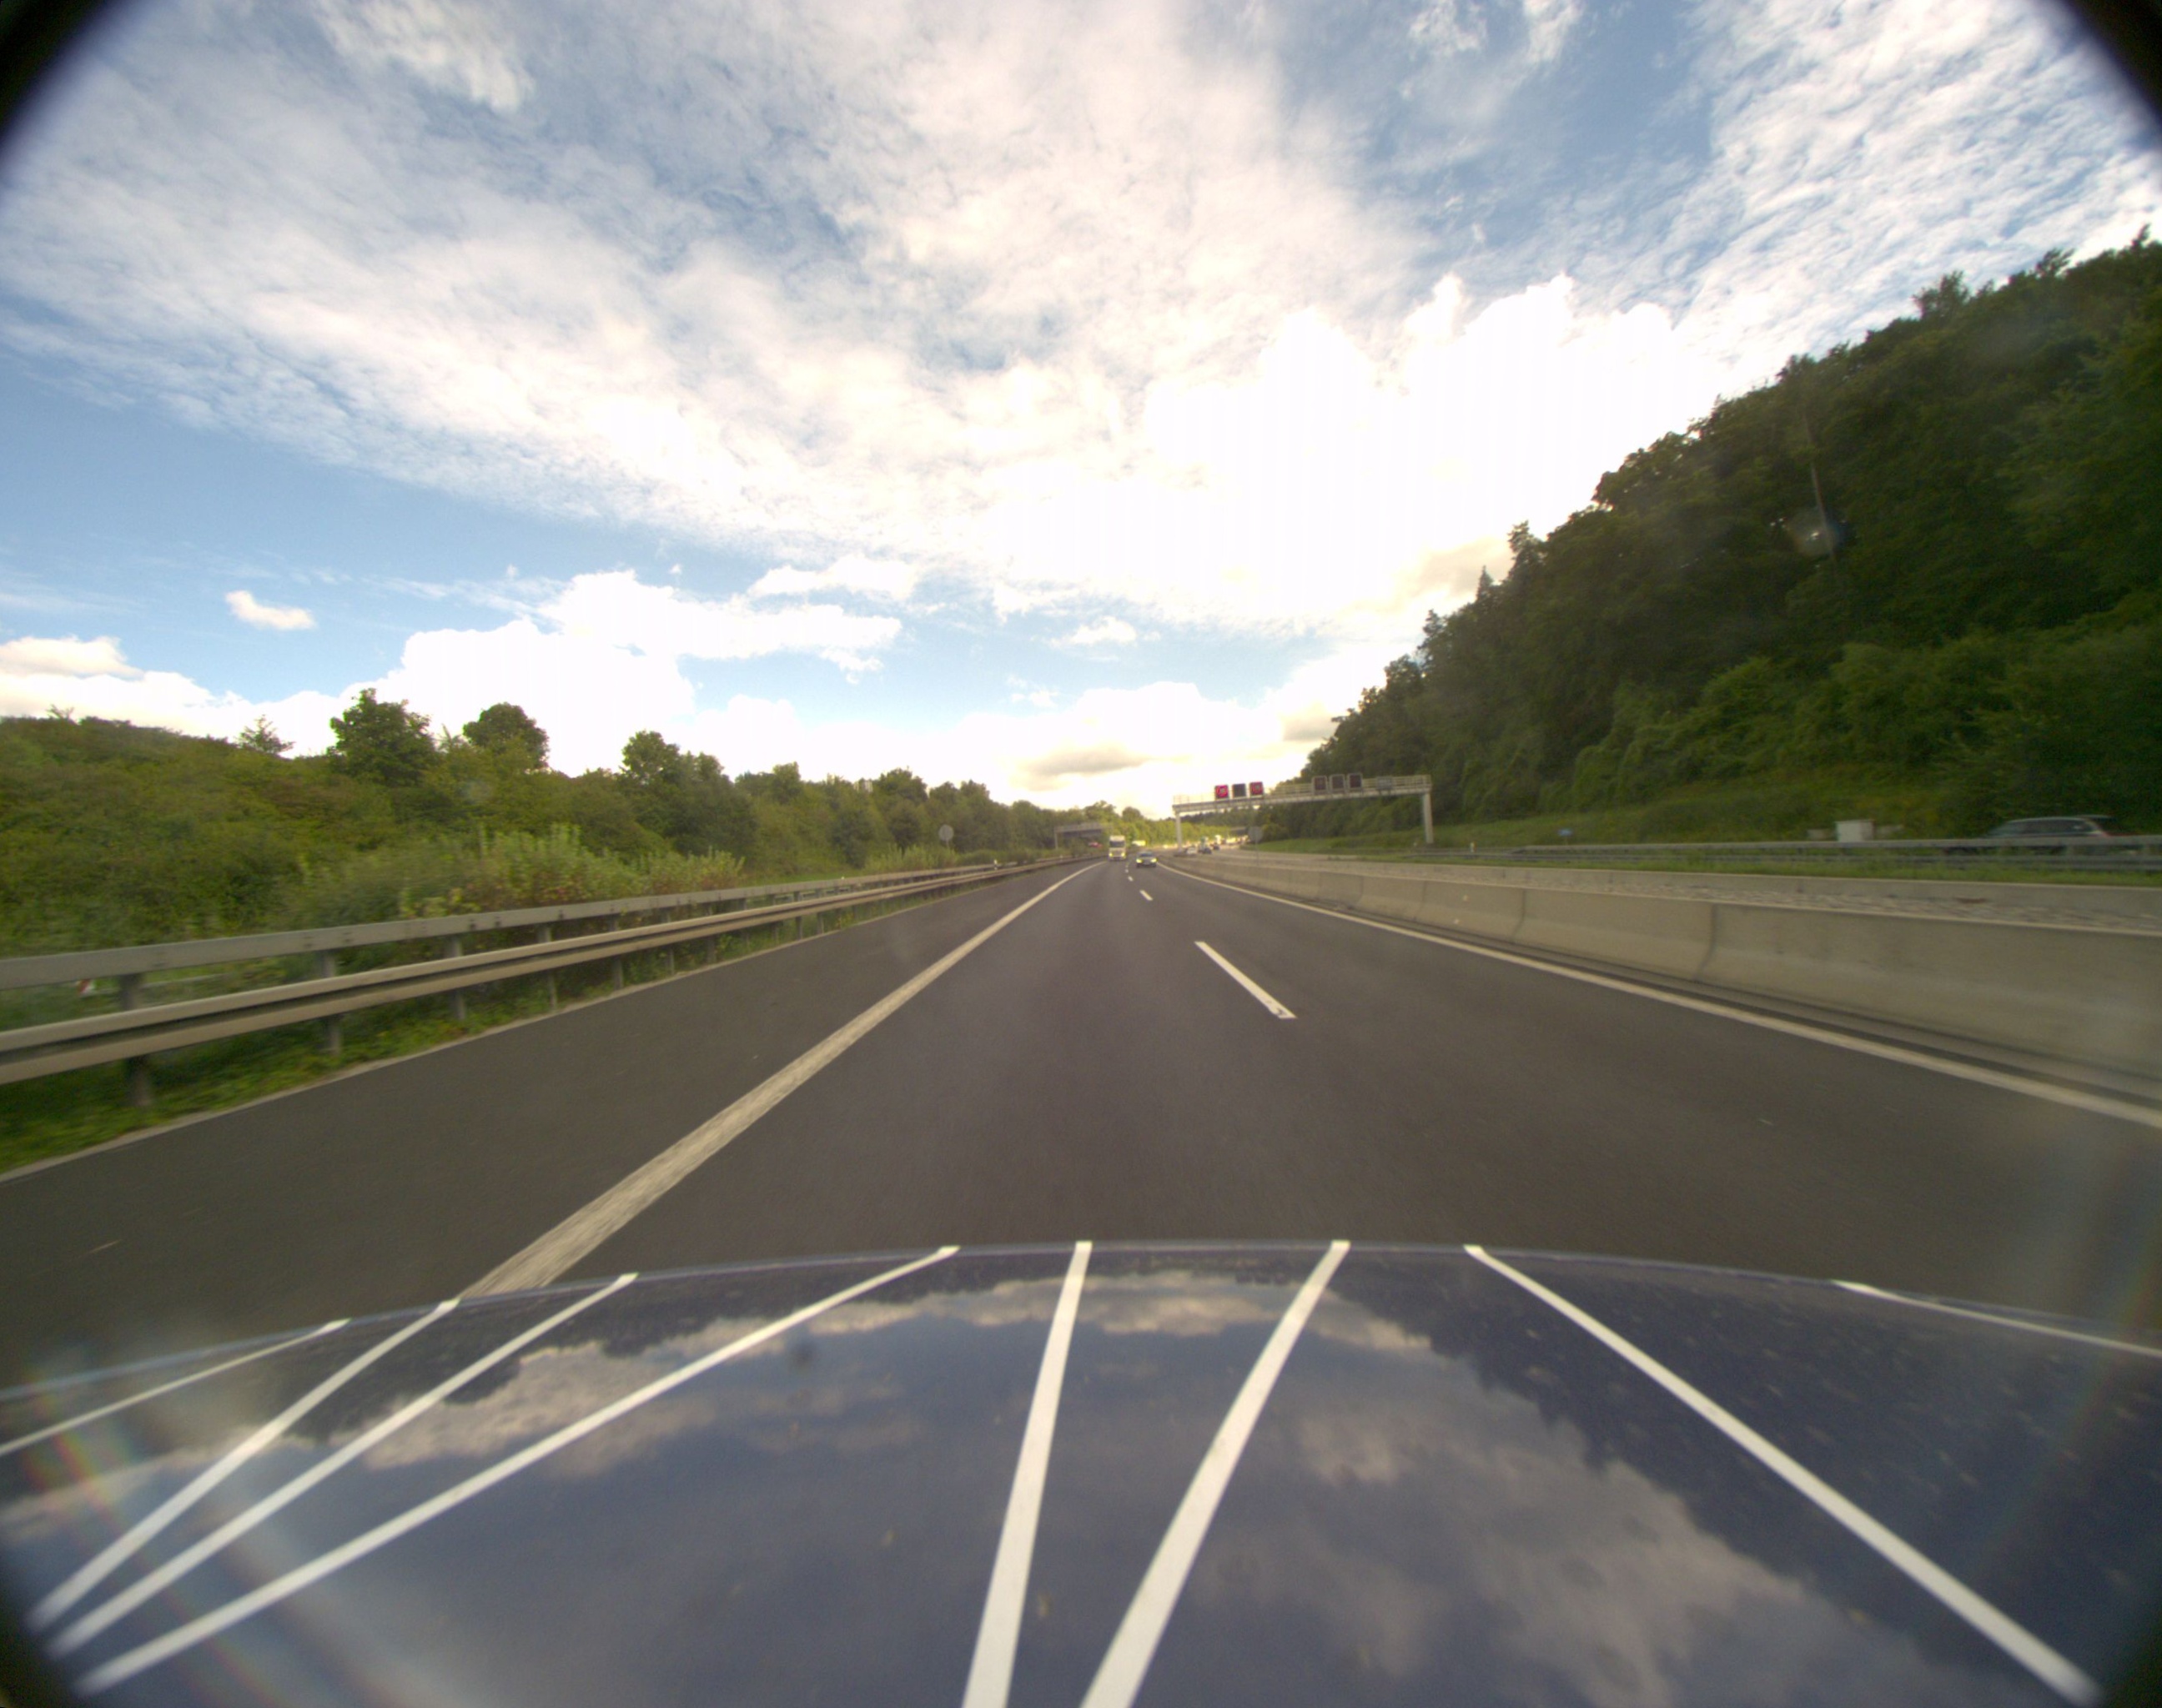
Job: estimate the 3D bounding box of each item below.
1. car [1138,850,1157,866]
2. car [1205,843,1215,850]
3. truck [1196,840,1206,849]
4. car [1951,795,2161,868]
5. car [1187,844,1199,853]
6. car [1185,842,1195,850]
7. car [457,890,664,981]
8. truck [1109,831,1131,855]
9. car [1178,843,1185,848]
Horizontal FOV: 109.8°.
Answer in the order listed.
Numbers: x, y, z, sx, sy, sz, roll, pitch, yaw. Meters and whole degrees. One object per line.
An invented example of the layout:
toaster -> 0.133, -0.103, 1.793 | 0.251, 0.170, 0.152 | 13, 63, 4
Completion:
car -> 6.425, 0.359, 73.368 | 1.662, 1.464, 4.001 | -2, 1, 6
car -> 27.146, -1.515, 159.469 | 1.669, 1.387, 4.602 | -2, 1, 5
truck -> 29.481, -2.355, 186.695 | 2.188, 2.213, 5.572 | -2, 1, 5
car -> 30.274, -0.663, 23.571 | 1.998, 2.002, 4.000 | -2, 0, 1
car -> 20.330, -1.053, 138.494 | 1.768, 1.572, 4.933 | -2, 1, 5
car -> 25.891, -1.886, 180.442 | 1.997, 1.631, 4.001 | -2, 1, 6
car -> -11.839, 1.776, 17.726 | 1.788, 1.562, 4.343 | -2, 0, 0
truck -> 6.520, -1.885, 125.343 | 2.795, 3.563, 11.461 | -2, 2, 7
car -> 26.531, -2.242, 201.179 | 1.568, 1.441, 3.889 | -2, 1, 6
